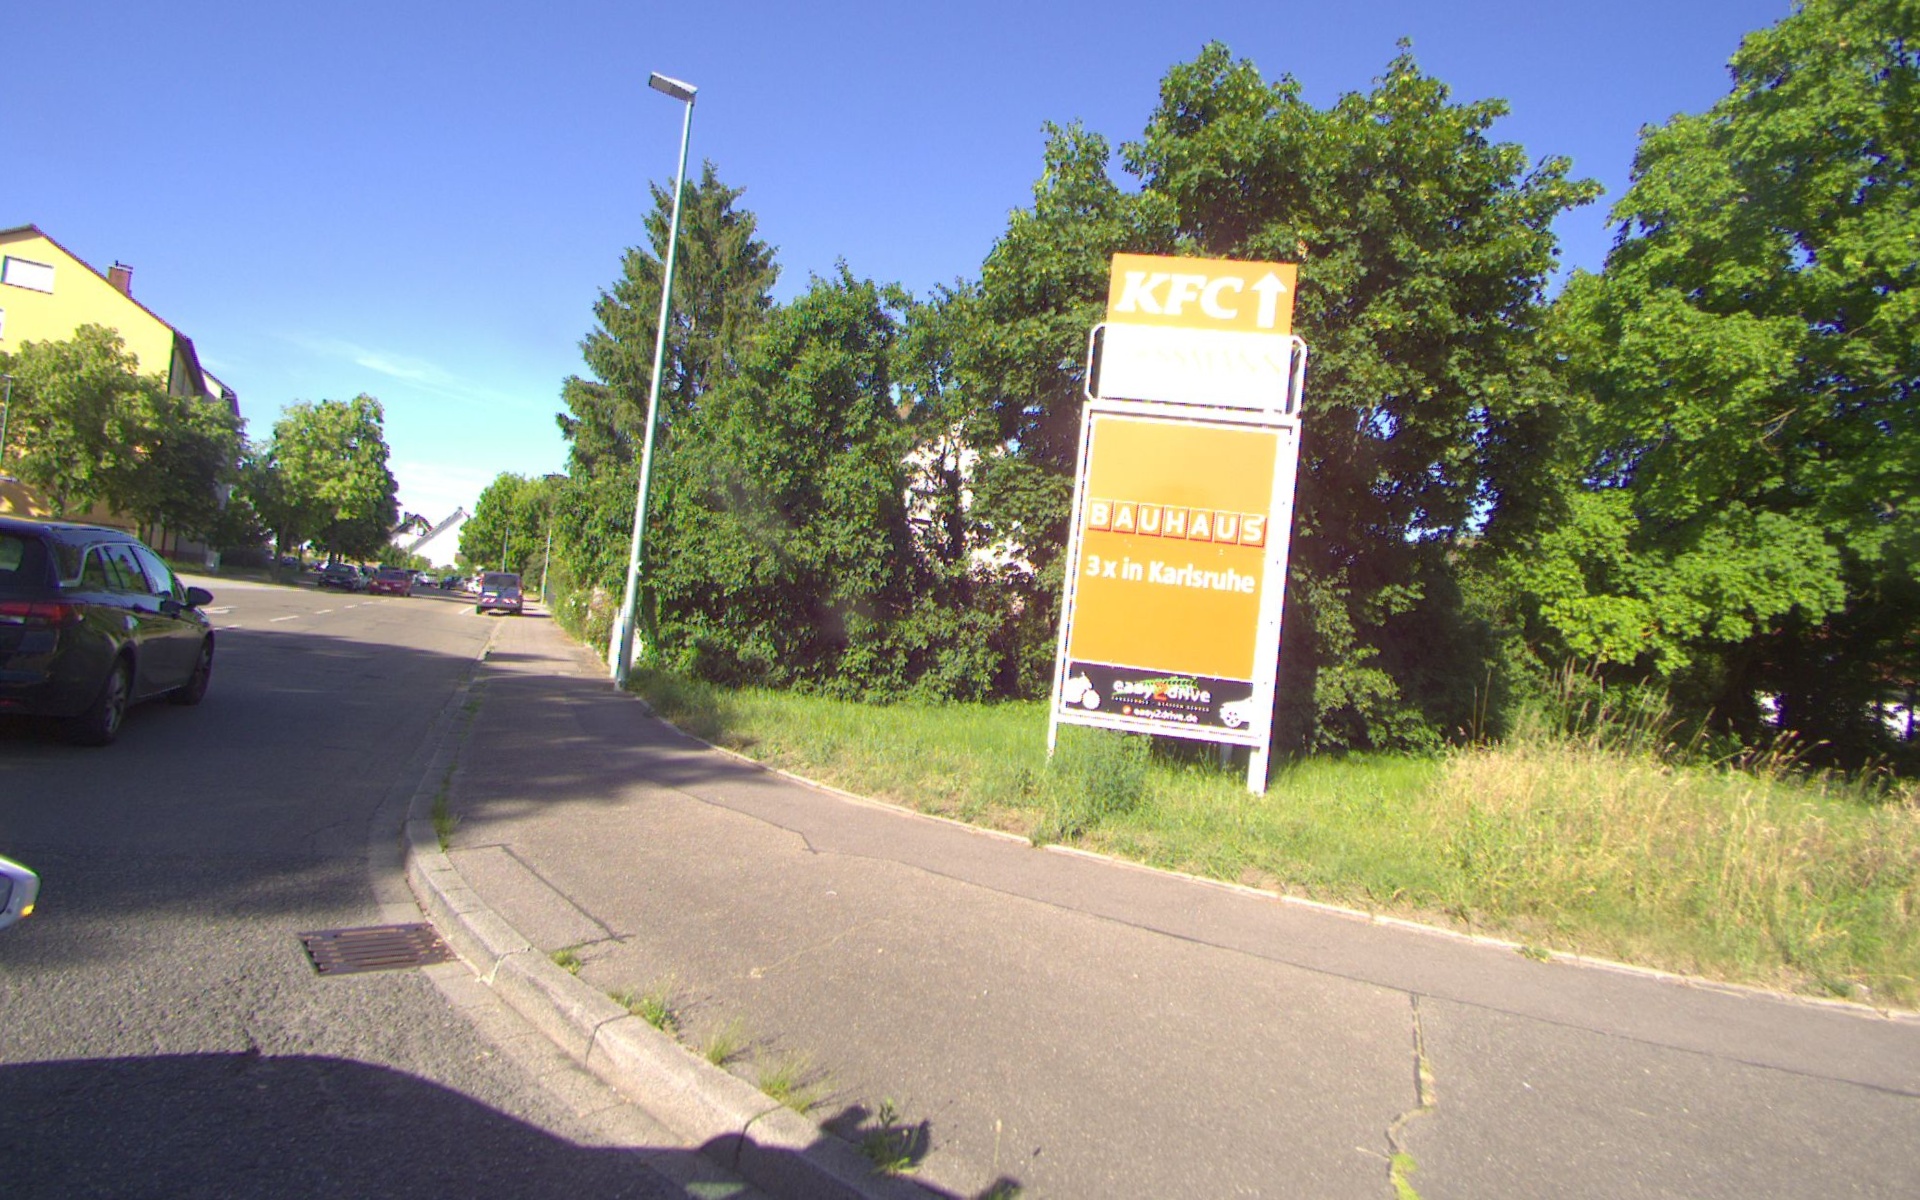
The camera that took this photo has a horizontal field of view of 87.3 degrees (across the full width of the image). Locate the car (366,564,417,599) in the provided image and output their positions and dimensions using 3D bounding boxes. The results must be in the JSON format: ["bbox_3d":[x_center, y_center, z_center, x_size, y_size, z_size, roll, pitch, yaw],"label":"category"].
[{"bbox_3d":[-31.906,-1.053,56.554,1.994,1.586,4.367,8,-2,-25],"label":"car"}]

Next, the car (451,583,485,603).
[{"bbox_3d":[-47.734,-0.685,97.519,1.903,1.619,4.249,7,-2,-39],"label":"car"}]

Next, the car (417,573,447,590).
[{"bbox_3d":[-57.228,-1.984,108.986,1.813,1.552,4.212,7,-2,-41],"label":"car"}]

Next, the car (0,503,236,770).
[{"bbox_3d":[-6.899,0.118,7.451,1.747,1.507,4.264,8,-3,-28],"label":"car"}]

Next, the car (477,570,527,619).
[{"bbox_3d":[-20.965,-0.245,46.201,1.819,1.929,4.674,7,-2,-23],"label":"car"}]

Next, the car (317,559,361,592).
[{"bbox_3d":[-35.519,-1.357,57.599,1.687,1.495,4.029,9,-4,-27],"label":"car"}]

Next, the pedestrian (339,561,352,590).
[{"bbox_3d":[-39.162,-1.539,64.079,0.500,1.781,0.691,6,-3,-28],"label":"pedestrian"}]

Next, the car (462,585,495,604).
[{"bbox_3d":[-45.007,-0.552,93.976,1.752,1.497,4.250,7,-2,-39],"label":"car"}]

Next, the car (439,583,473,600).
[{"bbox_3d":[-51.175,-0.880,102.104,1.997,1.492,4.248,7,-3,-40],"label":"car"}]

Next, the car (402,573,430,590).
[{"bbox_3d":[-61.056,-2.073,112.889,1.813,1.552,4.212,7,-2,-41],"label":"car"}]
